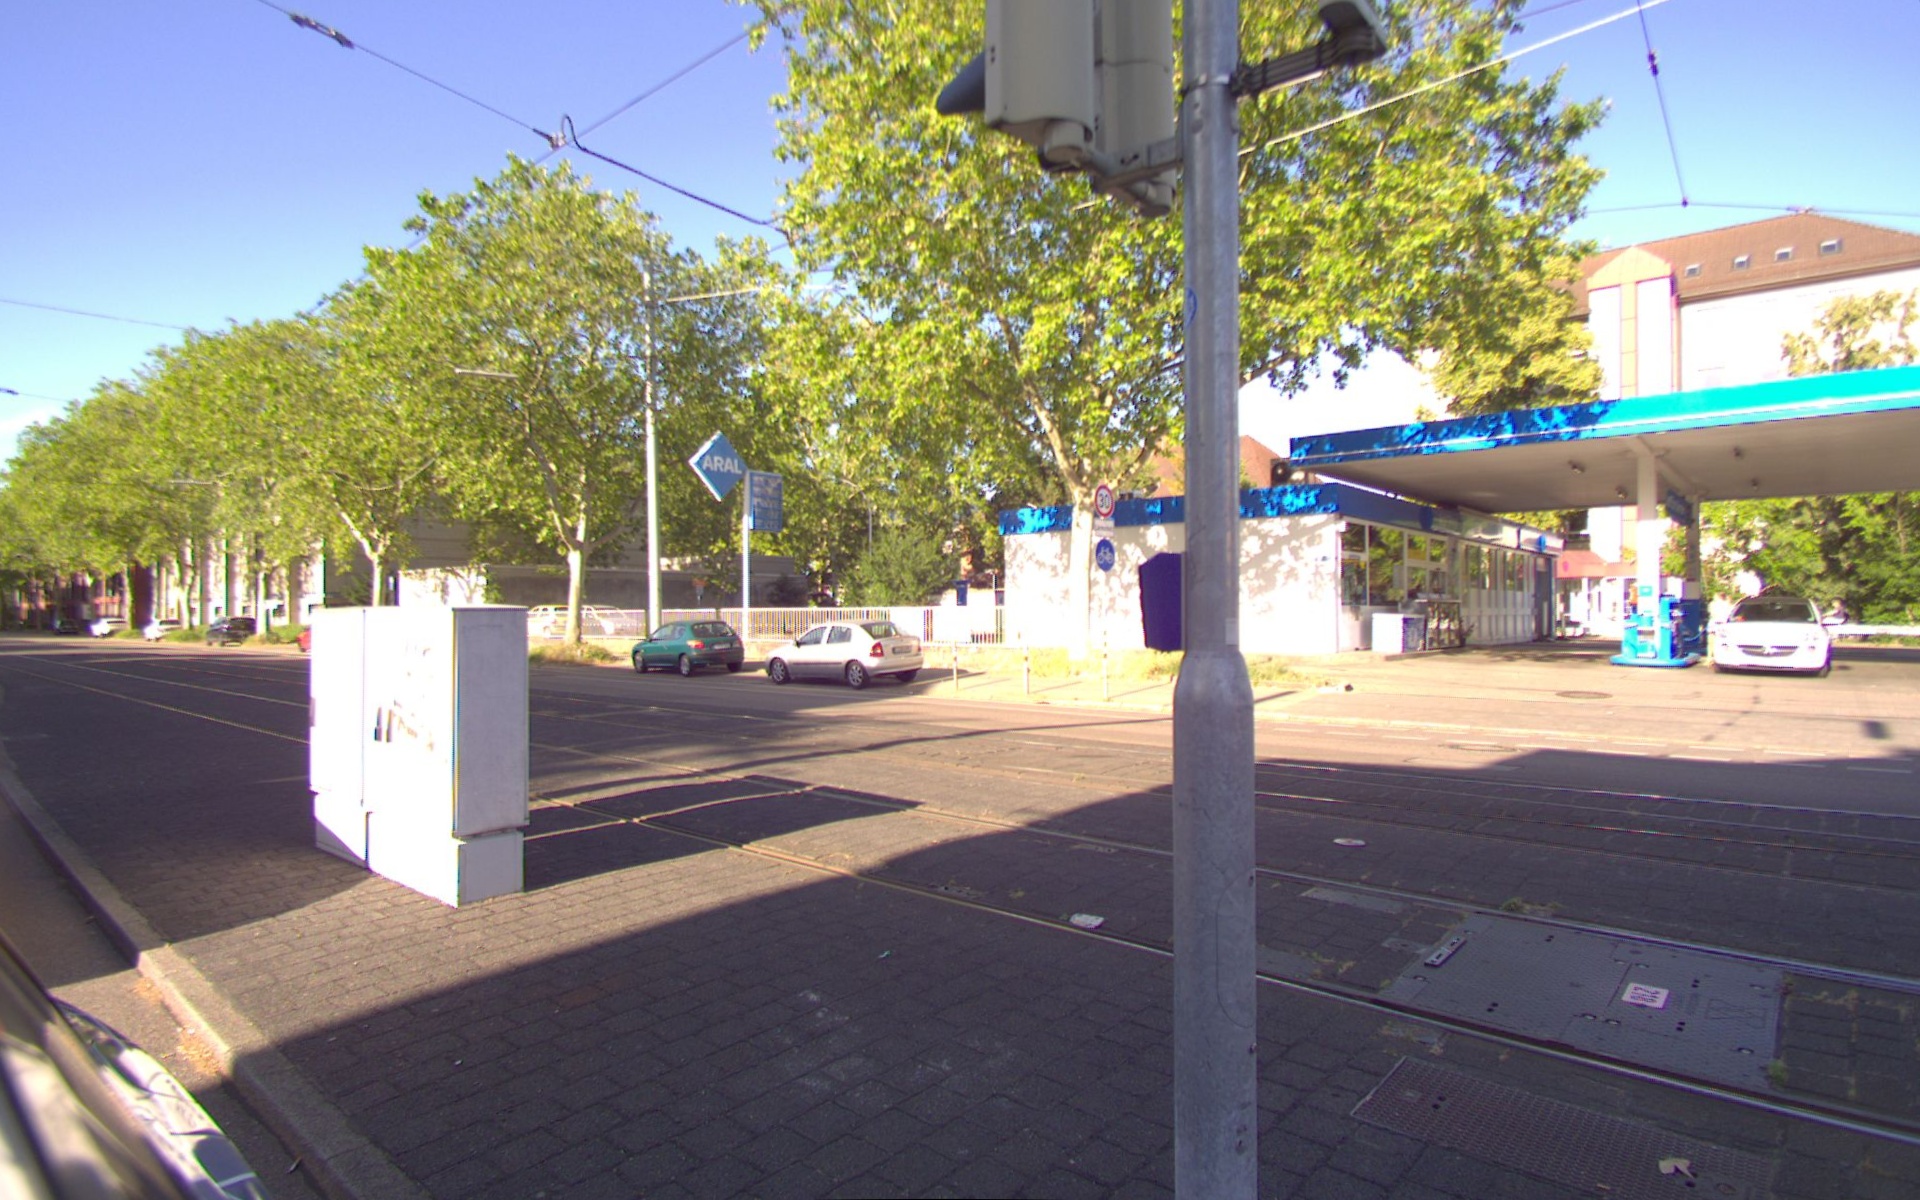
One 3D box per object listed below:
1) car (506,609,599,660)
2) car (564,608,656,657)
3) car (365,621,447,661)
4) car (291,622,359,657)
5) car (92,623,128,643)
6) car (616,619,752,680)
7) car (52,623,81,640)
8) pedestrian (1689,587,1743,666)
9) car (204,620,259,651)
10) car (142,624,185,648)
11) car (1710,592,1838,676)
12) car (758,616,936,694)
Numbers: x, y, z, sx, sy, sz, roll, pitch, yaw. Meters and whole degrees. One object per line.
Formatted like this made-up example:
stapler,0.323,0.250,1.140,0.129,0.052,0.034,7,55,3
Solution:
car,-17.044,1.398,42.266,3.996,2.029,1.974,-1,-1,39
car,-15.145,1.368,43.694,3.996,2.029,1.974,-1,-1,39
car,-21.984,1.591,40.095,3.858,1.468,1.735,-1,0,43
car,-28.911,1.777,46.049,3.858,1.440,1.695,-1,0,43
car,-66.925,2.582,79.646,3.858,1.495,1.735,-1,0,43
car,-7.433,1.278,27.080,3.858,1.408,1.722,-1,1,43
car,-84.872,3.014,96.121,3.858,1.495,1.735,-1,0,43
pedestrian,16.141,0.559,21.624,0.809,1.642,0.641,-1,-1,28
car,-40.675,1.959,56.490,3.858,1.557,1.735,-1,0,43
car,-53.638,2.402,68.126,3.858,1.495,1.735,-1,0,43
car,15.941,0.619,19.785,1.793,1.453,3.946,-1,-1,40
car,-2.573,1.171,22.600,3.857,1.497,1.823,-1,1,42
